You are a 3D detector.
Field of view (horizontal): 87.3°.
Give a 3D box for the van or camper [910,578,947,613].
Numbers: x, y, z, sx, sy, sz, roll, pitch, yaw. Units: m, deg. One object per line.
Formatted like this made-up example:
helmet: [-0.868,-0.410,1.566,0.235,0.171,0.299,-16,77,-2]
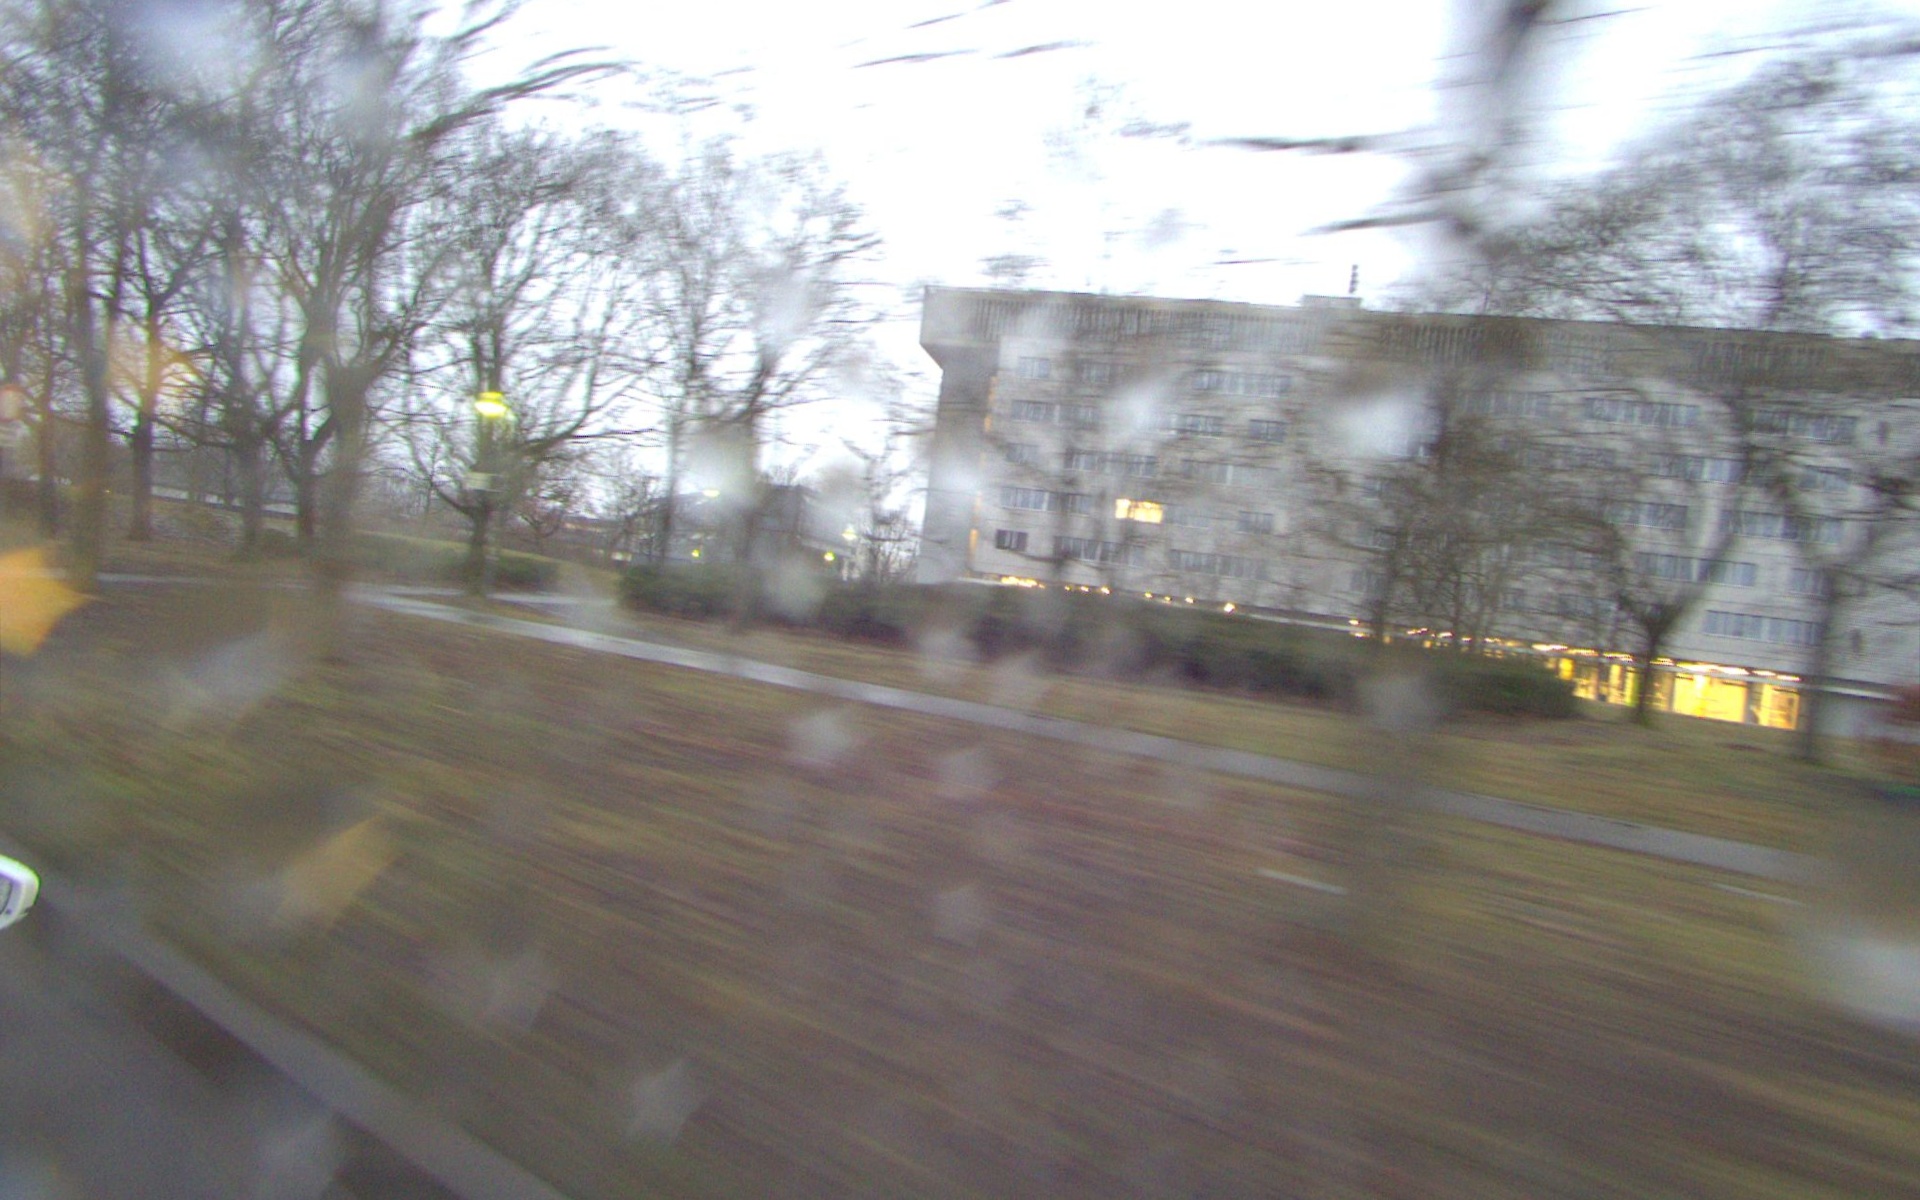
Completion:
van or camper: [-2.482,-0.348,80.784,2.094,2.373,4.481,7,-1,6]
